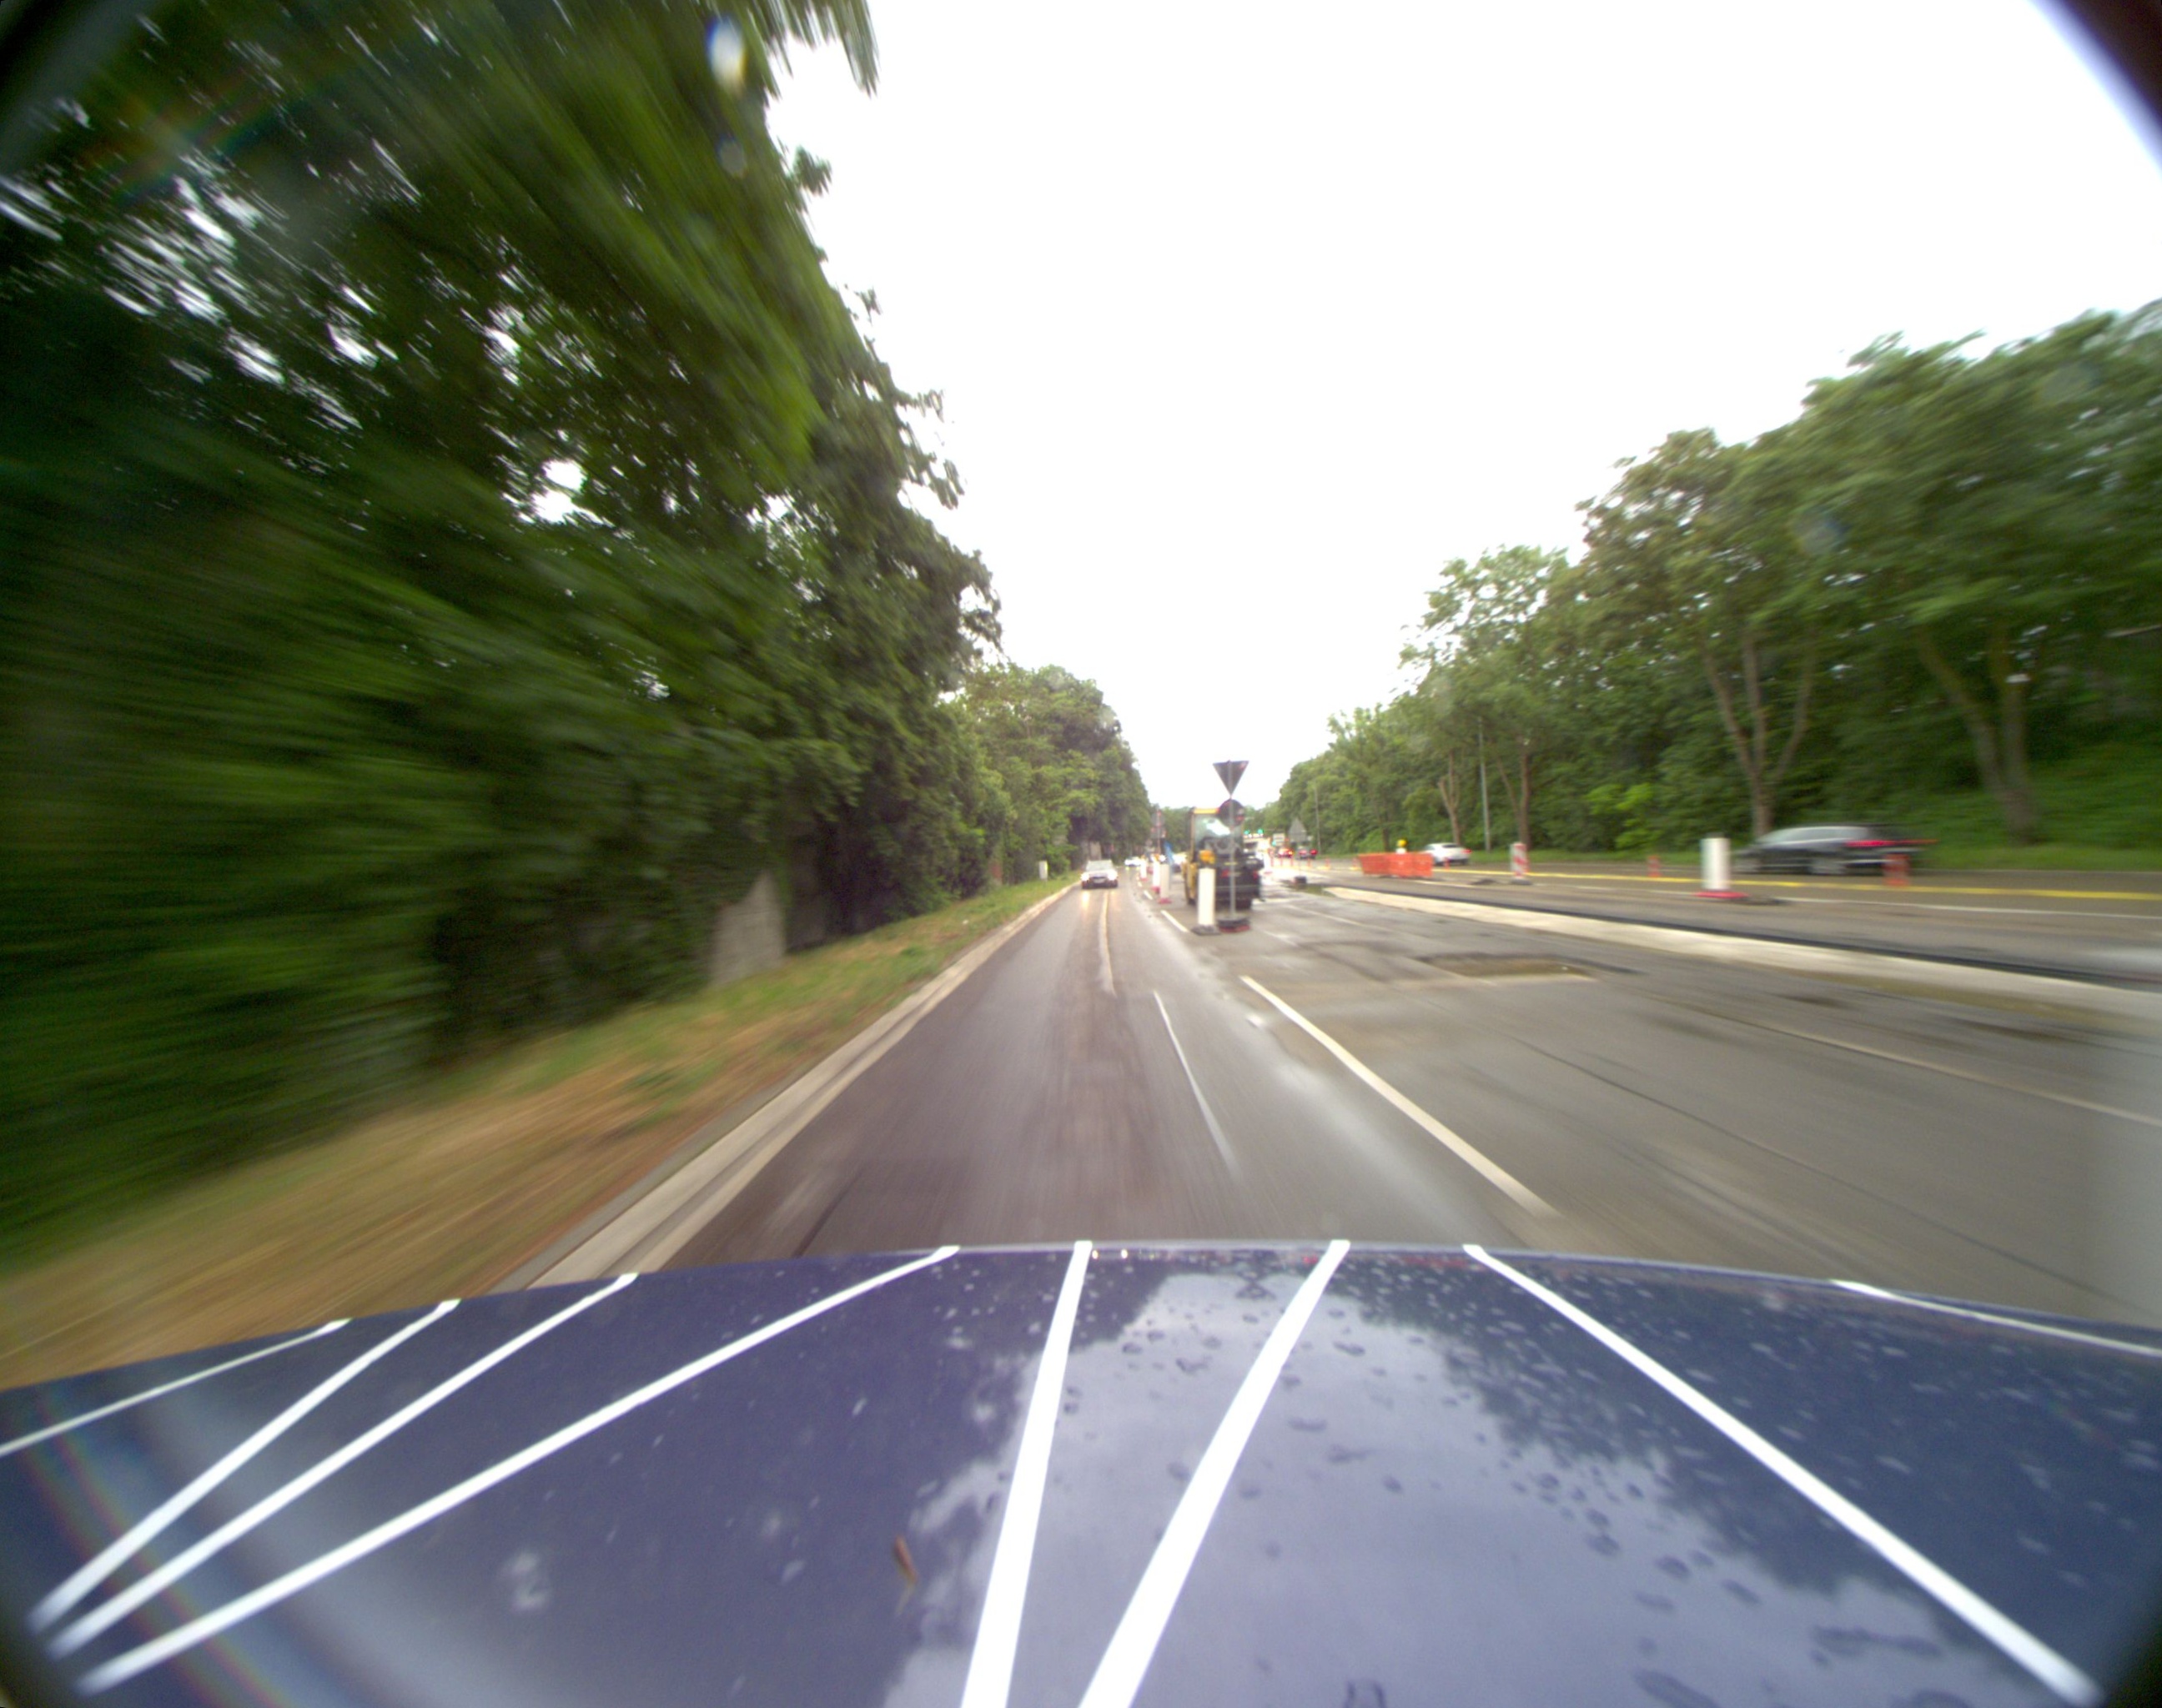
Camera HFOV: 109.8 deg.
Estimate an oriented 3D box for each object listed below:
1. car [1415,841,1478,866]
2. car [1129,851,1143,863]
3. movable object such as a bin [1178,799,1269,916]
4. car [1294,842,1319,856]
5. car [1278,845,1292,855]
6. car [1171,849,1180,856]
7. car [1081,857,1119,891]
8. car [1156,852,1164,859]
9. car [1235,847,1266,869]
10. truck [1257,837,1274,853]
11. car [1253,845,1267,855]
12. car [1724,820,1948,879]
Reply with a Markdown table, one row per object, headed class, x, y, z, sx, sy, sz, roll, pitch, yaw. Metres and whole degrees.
| class | x | y | z | sx | sy | sz | roll | pitch | yaw |
| --- | --- | --- | --- | --- | --- | --- | --- | --- | --- |
| car | 22.526 | -0.033 | 47.036 | 1.788 | 1.418 | 4.469 | -3 | 0 | 2 |
| car | 8.045 | 0.426 | 110.034 | 1.706 | 1.681 | 4.474 | -2 | 1 | 7 |
| movable object such as a bin | 4.061 | 0.084 | 22.478 | 1.808 | 2.968 | 5.246 | -3 | 0 | 3 |
| car | 27.718 | -0.565 | 93.540 | 1.678 | 1.604 | 4.767 | -2 | 0 | 2 |
| car | 31.136 | -0.592 | 116.016 | 1.624 | 1.475 | 3.609 | -2 | 0 | 8 |
| car | 20.134 | -0.291 | 162.457 | 1.710 | 1.434 | 4.233 | -2 | 1 | 8 |
| car | 1.021 | 0.981 | 38.345 | 1.701 | 1.477 | 4.000 | -2 | 1 | 3 |
| car | 18.413 | 0.393 | 176.677 | 1.710 | 1.434 | 4.233 | -2 | 1 | 8 |
| car | 13.803 | 0.322 | 62.045 | 1.793 | 1.574 | 3.861 | -4 | 0 | 3 |
| truck | 44.428 | -2.216 | 183.233 | 3.149 | 3.809 | 9.651 | -2 | 1 | 10 |
| car | 29.274 | -0.684 | 124.248 | 1.678 | 1.604 | 3.771 | -2 | 0 | 5 |
| car | 21.512 | -0.118 | 22.005 | 1.788 | 1.444 | 4.681 | -3 | 0 | 0 |
